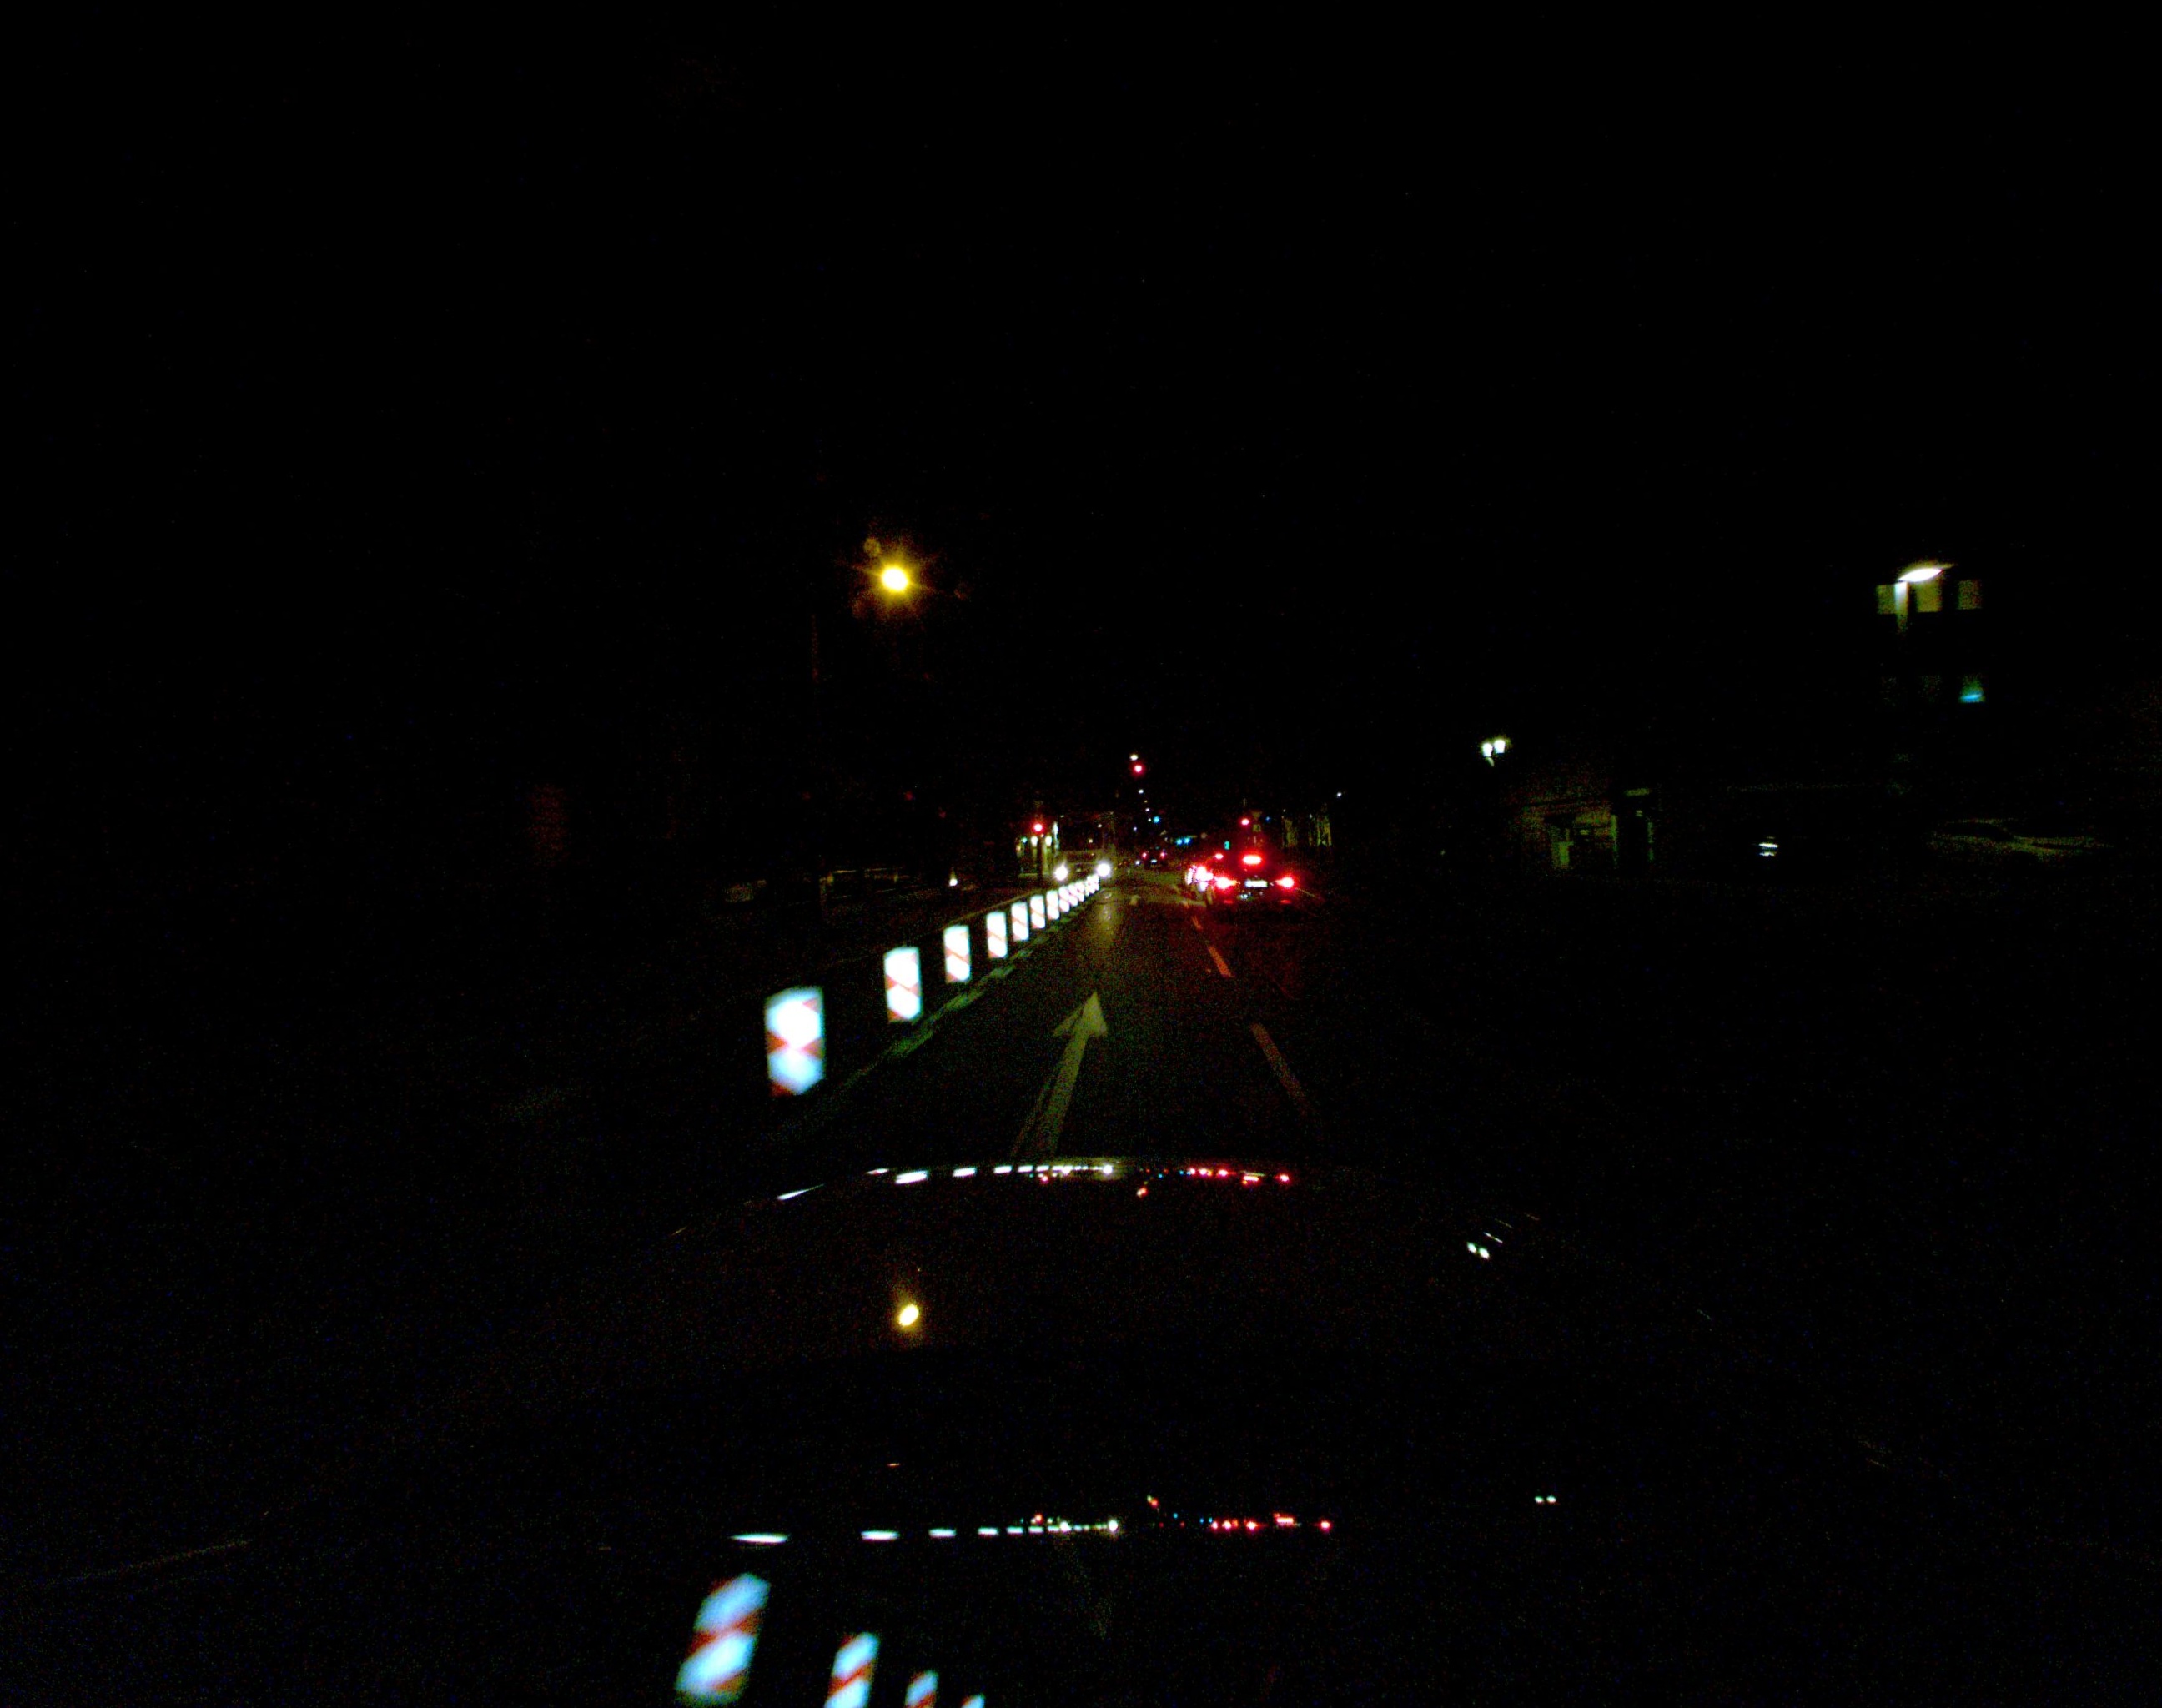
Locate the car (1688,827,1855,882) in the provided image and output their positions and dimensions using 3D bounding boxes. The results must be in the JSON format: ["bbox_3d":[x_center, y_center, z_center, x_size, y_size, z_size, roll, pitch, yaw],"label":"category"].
[{"bbox_3d":[19.953,-0.001,23.808,1.504,1.395,4.491,-2,0,7],"label":"car"}]

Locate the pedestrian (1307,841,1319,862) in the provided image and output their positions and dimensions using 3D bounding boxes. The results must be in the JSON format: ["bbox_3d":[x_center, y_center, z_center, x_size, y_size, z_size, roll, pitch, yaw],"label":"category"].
[{"bbox_3d":[20.042,-0.183,70.382,0.711,1.769,0.908,-3,0,5],"label":"pedestrian"}]

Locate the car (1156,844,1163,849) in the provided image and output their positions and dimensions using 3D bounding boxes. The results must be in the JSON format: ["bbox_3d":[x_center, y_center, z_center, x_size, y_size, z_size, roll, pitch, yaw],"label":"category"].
[{"bbox_3d":[24.575,-2.334,255.492,1.985,1.596,4.003,-2,0,2],"label":"car"}]

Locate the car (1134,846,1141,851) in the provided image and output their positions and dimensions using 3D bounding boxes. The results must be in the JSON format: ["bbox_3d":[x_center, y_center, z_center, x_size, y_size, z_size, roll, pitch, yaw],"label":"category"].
[{"bbox_3d":[16.763,-1.563,241.585,1.770,1.390,4.004,-3,0,3],"label":"car"}]

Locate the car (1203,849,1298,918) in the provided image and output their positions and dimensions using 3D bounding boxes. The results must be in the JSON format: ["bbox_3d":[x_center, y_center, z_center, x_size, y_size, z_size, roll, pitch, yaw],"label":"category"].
[{"bbox_3d":[4.020,0.628,20.027,1.796,1.494,4.737,0,0,6],"label":"car"}]

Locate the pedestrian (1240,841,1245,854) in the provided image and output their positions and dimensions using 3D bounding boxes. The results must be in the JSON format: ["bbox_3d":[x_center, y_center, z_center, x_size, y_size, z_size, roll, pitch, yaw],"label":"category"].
[{"bbox_3d":[25.571,-1.063,129.012,0.529,2.013,0.671,-2,0,4],"label":"pedestrian"}]

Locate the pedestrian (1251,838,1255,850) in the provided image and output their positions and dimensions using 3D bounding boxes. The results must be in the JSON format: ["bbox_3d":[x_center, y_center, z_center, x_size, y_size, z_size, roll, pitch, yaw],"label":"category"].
[{"bbox_3d":[27.425,-1.579,129.558,0.485,2.013,0.551,-2,0,4],"label":"pedestrian"}]

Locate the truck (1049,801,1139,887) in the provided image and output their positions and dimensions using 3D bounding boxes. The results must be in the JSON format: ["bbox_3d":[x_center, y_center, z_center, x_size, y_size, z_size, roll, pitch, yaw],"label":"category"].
[{"bbox_3d":[0.924,-0.476,41.661,2.738,3.718,10.142,-3,0,10],"label":"truck"}]

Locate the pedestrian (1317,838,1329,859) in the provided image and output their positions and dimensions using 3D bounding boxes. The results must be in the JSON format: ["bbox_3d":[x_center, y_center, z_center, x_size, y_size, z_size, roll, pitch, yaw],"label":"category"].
[{"bbox_3d":[20.915,-0.460,70.392,0.735,1.769,0.908,-3,0,5],"label":"pedestrian"}]

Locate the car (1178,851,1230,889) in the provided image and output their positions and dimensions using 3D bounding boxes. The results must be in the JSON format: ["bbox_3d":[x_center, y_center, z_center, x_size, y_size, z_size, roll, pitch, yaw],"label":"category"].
[{"bbox_3d":[4.892,0.586,32.918,1.722,1.435,4.215,0,0,4],"label":"car"}]

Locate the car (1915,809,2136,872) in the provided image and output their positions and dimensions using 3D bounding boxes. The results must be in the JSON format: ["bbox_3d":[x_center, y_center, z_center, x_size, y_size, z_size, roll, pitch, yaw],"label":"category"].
[{"bbox_3d":[26.192,-0.358,22.823,1.772,1.533,4.008,-2,0,7],"label":"car"}]

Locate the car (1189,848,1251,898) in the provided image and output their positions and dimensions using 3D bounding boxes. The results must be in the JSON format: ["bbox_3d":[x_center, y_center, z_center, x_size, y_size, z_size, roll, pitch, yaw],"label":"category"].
[{"bbox_3d":[4.405,0.567,26.276,1.630,1.494,4.005,0,0,5],"label":"car"}]

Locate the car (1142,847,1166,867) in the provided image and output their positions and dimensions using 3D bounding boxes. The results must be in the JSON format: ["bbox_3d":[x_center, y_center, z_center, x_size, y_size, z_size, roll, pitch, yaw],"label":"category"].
[{"bbox_3d":[6.485,0.237,72.903,1.985,1.640,4.004,-2,0,3],"label":"car"}]

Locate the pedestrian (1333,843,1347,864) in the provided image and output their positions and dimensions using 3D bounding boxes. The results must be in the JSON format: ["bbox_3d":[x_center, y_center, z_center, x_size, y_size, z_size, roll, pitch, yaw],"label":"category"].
[{"bbox_3d":[22.324,-0.016,70.116,0.897,1.769,0.908,-3,0,4],"label":"pedestrian"}]
